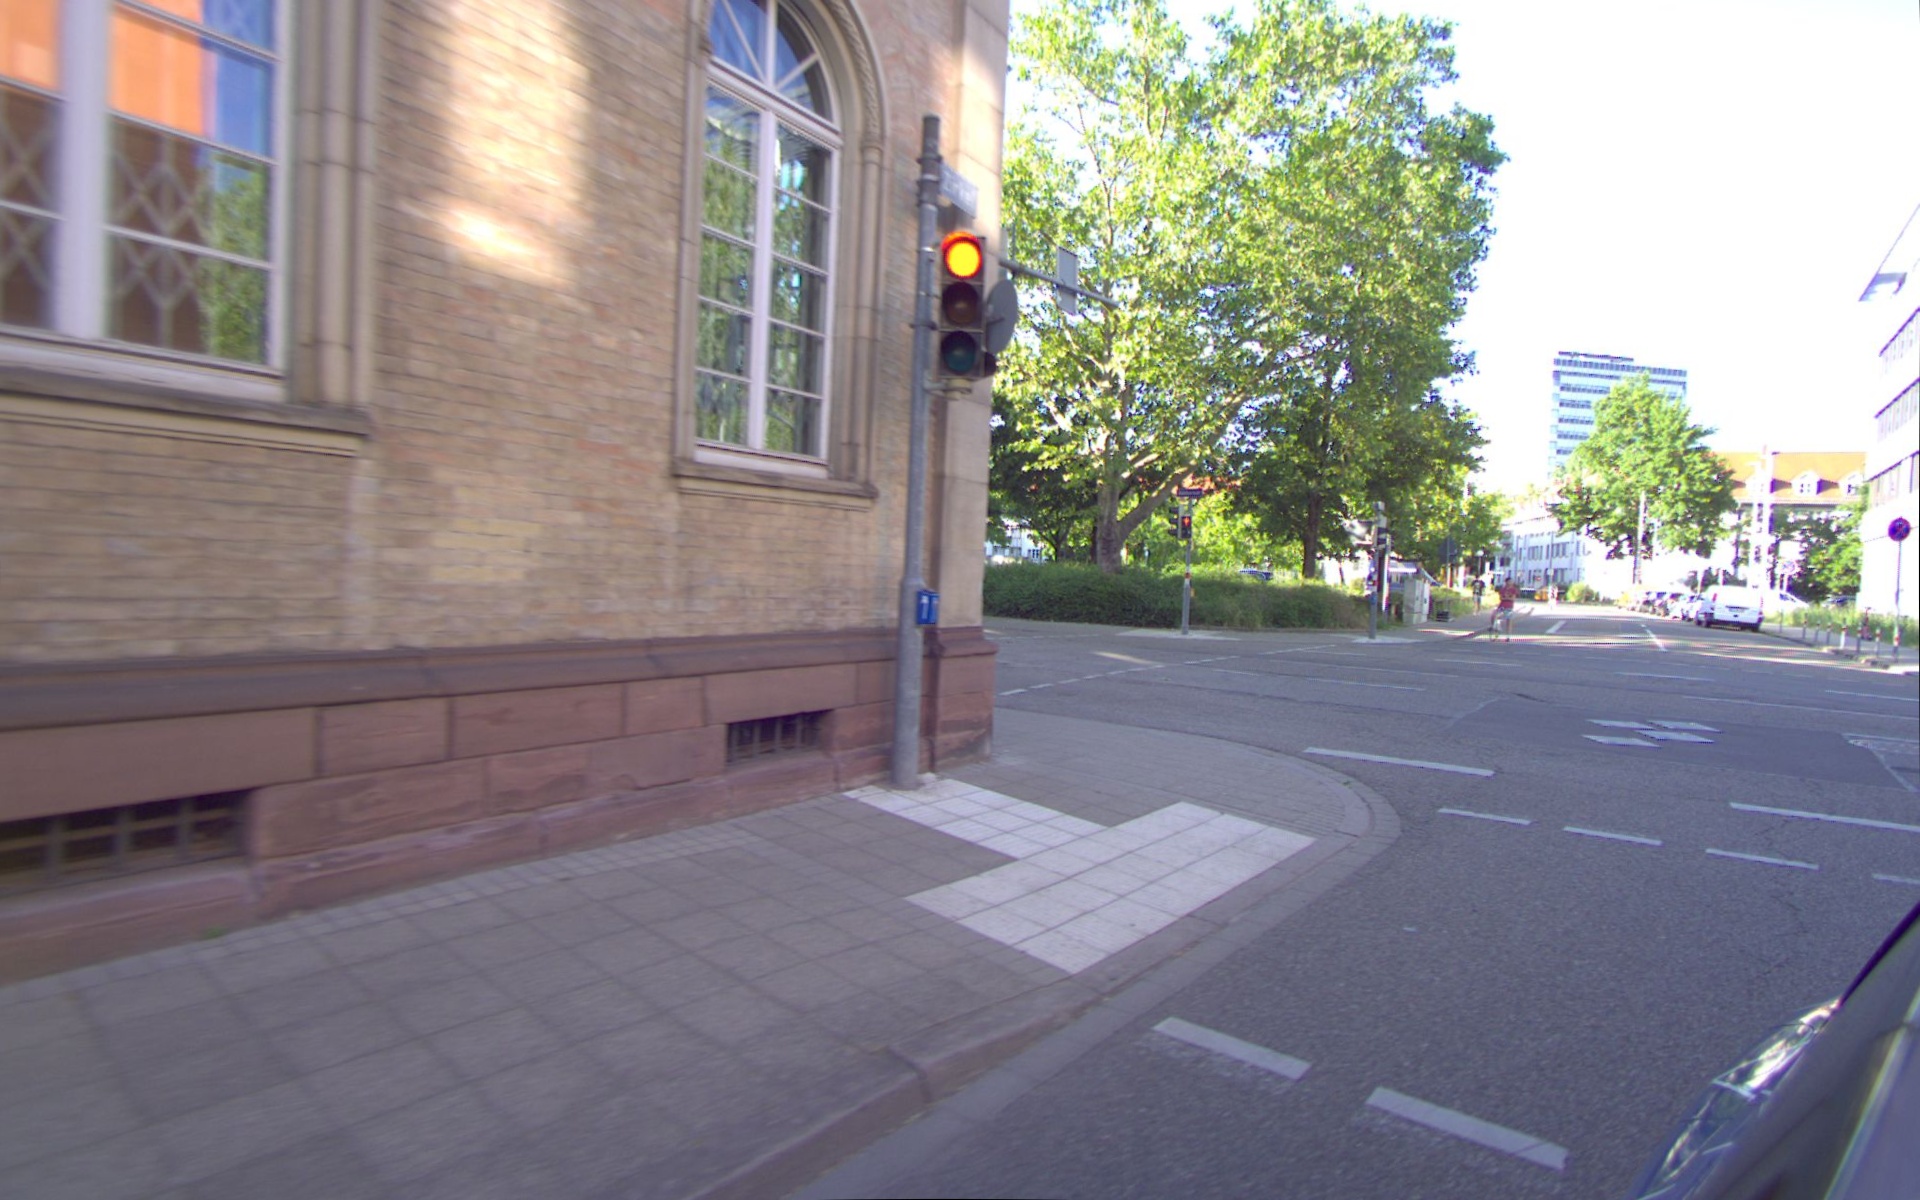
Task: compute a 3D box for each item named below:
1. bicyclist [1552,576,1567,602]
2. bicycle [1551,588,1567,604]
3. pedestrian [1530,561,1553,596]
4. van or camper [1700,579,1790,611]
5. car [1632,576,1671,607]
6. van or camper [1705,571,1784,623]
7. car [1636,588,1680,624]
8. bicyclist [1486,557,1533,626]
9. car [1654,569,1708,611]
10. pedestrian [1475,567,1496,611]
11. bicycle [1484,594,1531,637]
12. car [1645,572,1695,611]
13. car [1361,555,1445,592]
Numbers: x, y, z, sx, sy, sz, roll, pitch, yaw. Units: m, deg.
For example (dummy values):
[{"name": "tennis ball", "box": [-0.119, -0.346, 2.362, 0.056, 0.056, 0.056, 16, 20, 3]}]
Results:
[{"name": "bicyclist", "box": [38.133, -0.685, 64.404, 0.755, 1.612, 0.892, 3, 2, 30]}, {"name": "bicycle", "box": [38.104, -0.262, 64.365, 0.755, 0.961, 3.026, 3, 2, 29]}, {"name": "pedestrian", "box": [56.508, -2.113, 98.368, 1.439, 3.349, 1.399, 2, 1, 16]}, {"name": "van or camper", "box": [56.294, -0.395, 72.675, 4.681, 2.112, 1.984, 3, 2, 24]}, {"name": "car", "box": [48.476, -0.564, 71.011, 1.985, 2.039, 3.954, 3, 1, 32]}, {"name": "van or camper", "box": [33.732, -0.176, 43.652, 2.148, 2.038, 4.919, 3, 3, 33]}, {"name": "car", "box": [42.898, 0.342, 62.273, 1.985, 2.038, 3.954, 3, 2, 32]}, {"name": "bicyclist", "box": [15.121, -0.239, 27.836, 0.971, 1.830, 1.118, 3, 2, 33]}, {"name": "car", "box": [37.806, -0.551, 53.120, 1.985, 2.038, 3.954, 3, 2, 32]}, {"name": "pedestrian", "box": [23.313, -0.496, 44.894, 0.661, 1.878, 1.017, 3, 1, 24]}, {"name": "bicycle", "box": [15.172, 0.399, 28.000, 0.935, 1.051, 2.972, 3, 2, 32]}, {"name": "car", "box": [40.070, -0.507, 57.182, 1.985, 2.038, 3.954, 3, 2, 32]}, {"name": "car", "box": [27.502, -1.669, 62.855, 4.527, 2.139, 1.980, 3, 2, 29]}]
